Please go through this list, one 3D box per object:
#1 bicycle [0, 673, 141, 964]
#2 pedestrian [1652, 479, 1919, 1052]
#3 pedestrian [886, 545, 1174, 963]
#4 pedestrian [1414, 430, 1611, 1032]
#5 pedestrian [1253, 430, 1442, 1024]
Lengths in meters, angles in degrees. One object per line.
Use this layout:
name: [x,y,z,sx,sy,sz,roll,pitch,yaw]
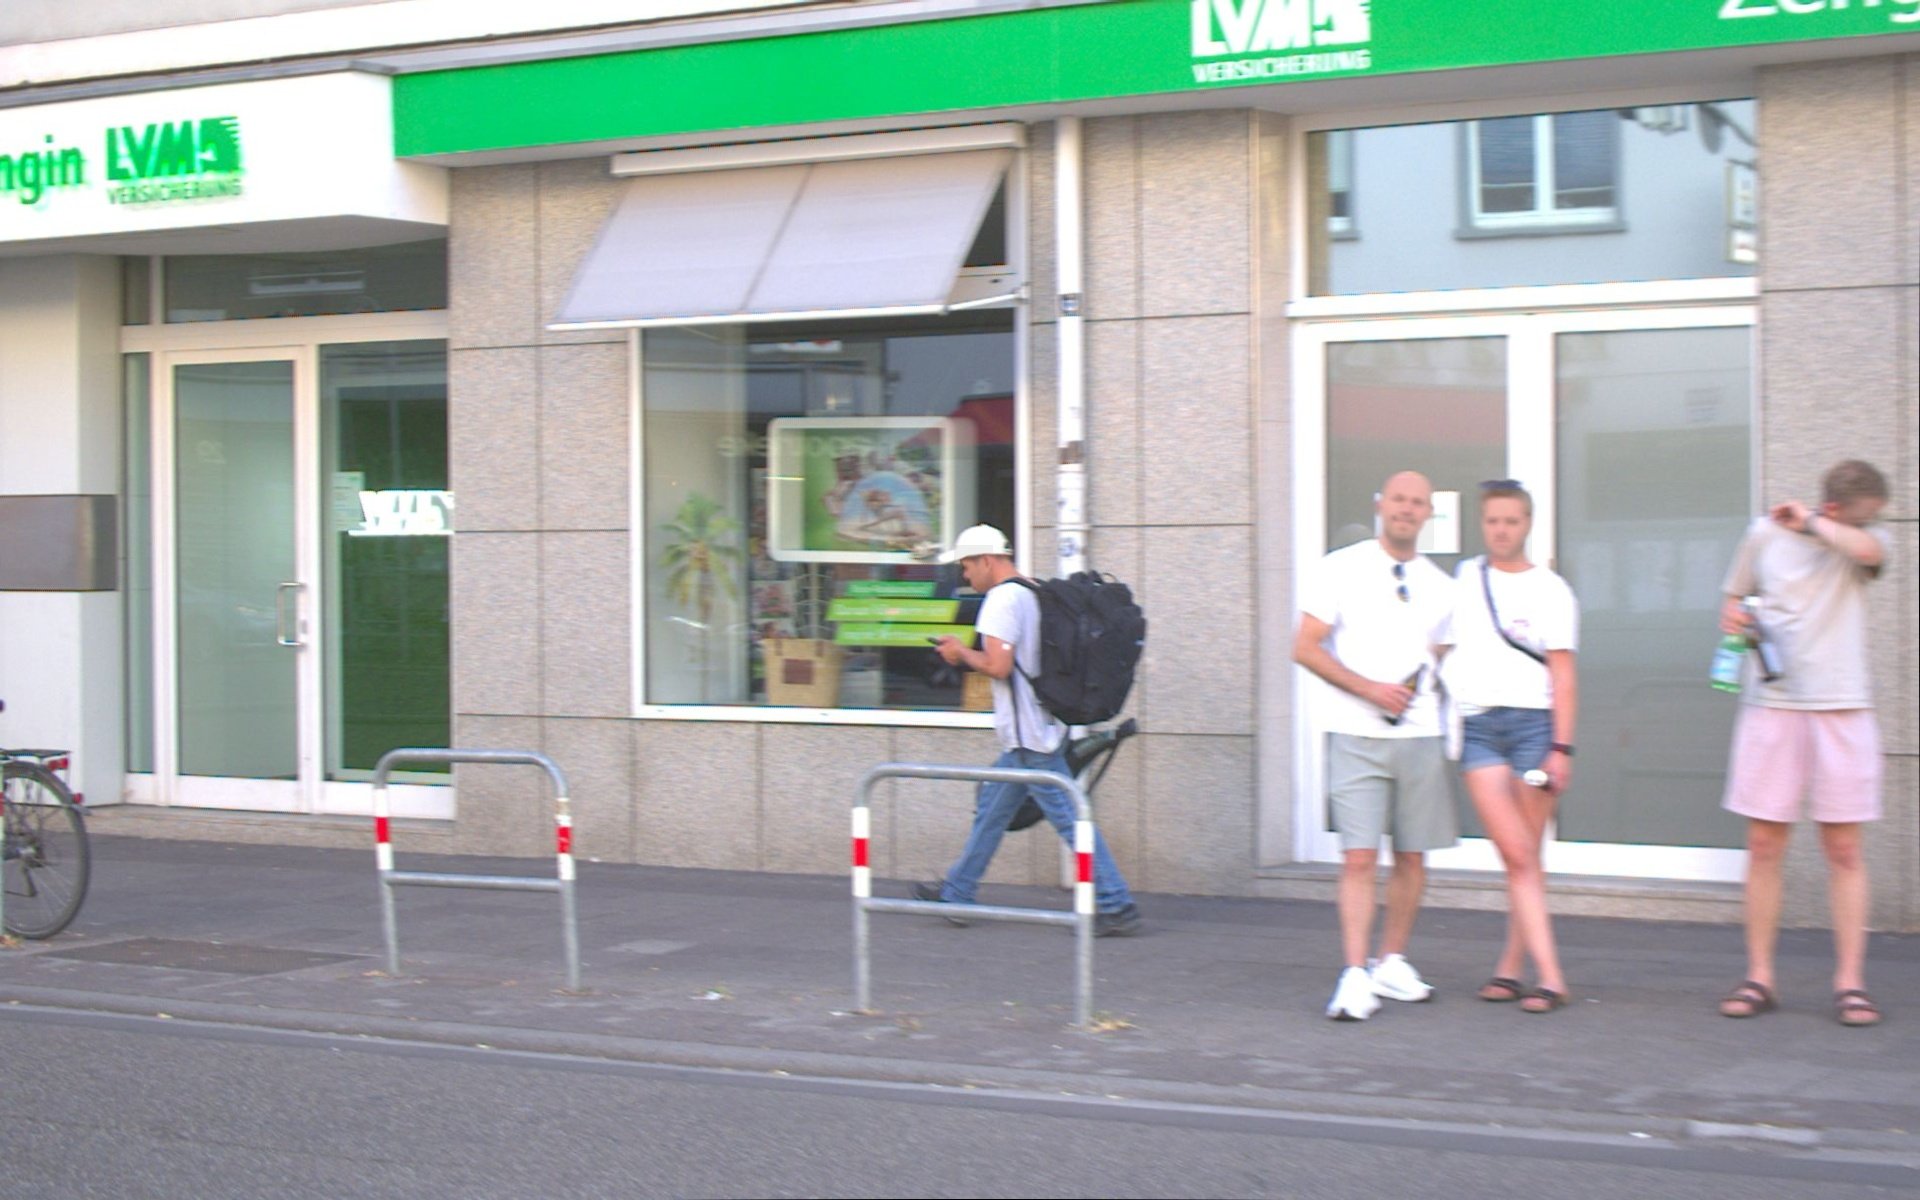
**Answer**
bicycle: [-4.119,0.853,13.900,1.645,1.086,0.478,0,3,29]
pedestrian: [2.646,0.492,10.885,0.698,1.739,0.639,1,2,34]
pedestrian: [0.273,0.563,13.292,0.869,1.543,0.698,1,2,34]
pedestrian: [1.828,0.409,11.340,0.528,1.922,0.639,0,1,20]
pedestrian: [1.297,0.403,11.473,0.495,1.922,0.575,0,1,21]
